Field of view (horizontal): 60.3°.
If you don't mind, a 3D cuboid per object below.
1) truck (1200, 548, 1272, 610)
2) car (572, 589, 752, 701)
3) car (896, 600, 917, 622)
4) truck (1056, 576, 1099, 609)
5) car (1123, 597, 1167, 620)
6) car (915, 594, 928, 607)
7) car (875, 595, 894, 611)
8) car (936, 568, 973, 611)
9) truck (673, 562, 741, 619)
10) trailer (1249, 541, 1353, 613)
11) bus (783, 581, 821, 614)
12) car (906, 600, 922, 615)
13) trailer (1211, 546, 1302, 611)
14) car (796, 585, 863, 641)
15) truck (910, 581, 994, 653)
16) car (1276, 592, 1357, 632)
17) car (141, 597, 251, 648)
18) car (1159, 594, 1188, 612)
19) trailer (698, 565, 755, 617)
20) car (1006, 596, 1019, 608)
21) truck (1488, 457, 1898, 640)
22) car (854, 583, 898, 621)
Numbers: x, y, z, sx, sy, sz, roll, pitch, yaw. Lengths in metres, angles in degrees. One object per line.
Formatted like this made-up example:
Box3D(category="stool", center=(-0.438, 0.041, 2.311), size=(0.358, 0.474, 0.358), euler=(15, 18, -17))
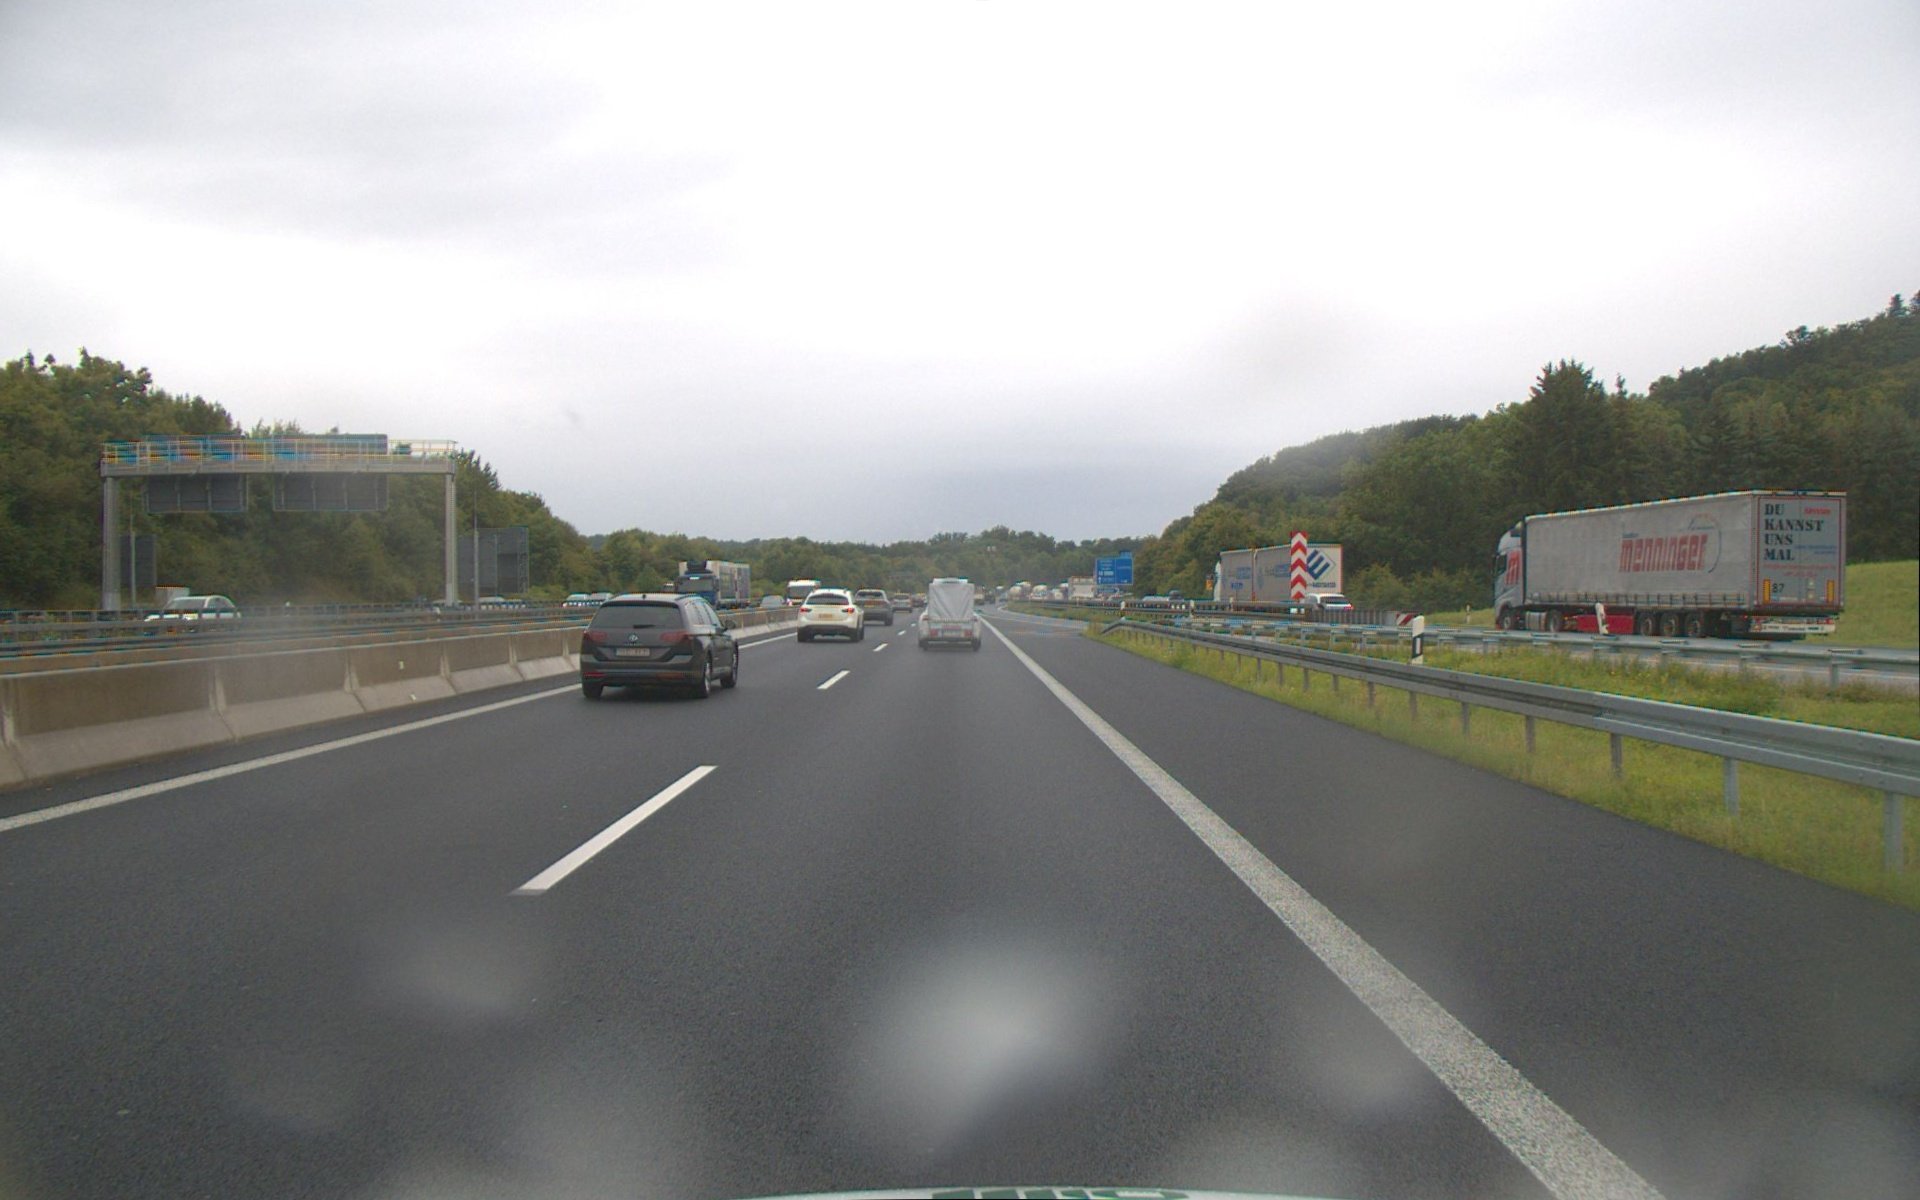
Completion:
Box3D(category="truck", center=(16.822, -1.256, 101.138), size=(2.881, 3.588, 5.921), euler=(1, 0, -5))
Box3D(category="car", center=(-4.339, 0.604, 24.783), size=(1.750, 1.484, 4.802), euler=(1, 0, 1))
Box3D(category="car", center=(-4.597, 0.935, 141.944), size=(1.703, 1.825, 4.000), euler=(1, 0, 0))
Box3D(category="truck", center=(13.457, -0.858, 190.408), size=(3.749, 3.723, 8.265), euler=(1, 0, -4))
Box3D(category="car", center=(12.436, 0.552, 111.448), size=(1.947, 1.401, 5.314), euler=(1, 1, -4))
Box3D(category="car", center=(-5.001, 0.087, 216.863), size=(1.611, 1.601, 4.000), euler=(1, 0, 0))
Box3D(category="car", center=(-7.642, 0.294, 167.413), size=(1.782, 1.691, 4.017), euler=(0, 0, 0))
Box3D(category="car", center=(-0.399, -0.738, 110.428), size=(2.284, 2.773, 6.538), euler=(0, 1, -2))
Box3D(category="truck", center=(-16.705, -0.606, 109.899), size=(2.750, 3.586, 10.641), euler=(1, 0, 0))
Box3D(category="trailer", center=(18.158, -1.173, 88.724), size=(3.019, 3.588, 8.073), euler=(1, 0, -7))
Box3D(category="bus", center=(-13.375, -0.205, 140.661), size=(2.489, 2.631, 8.270), euler=(1, 0, -1))
Box3D(category="car", center=(-5.085, 0.865, 181.940), size=(1.611, 1.601, 4.000), euler=(1, 0, 0))
Box3D(category="trailer", center=(17.261, -1.189, 96.909), size=(2.882, 3.588, 8.408), euler=(1, 0, -6))
Box3D(category="car", center=(-4.227, 0.385, 53.102), size=(2.009, 1.700, 4.535), euler=(1, 0, -6))
Box3D(category="truck", center=(-0.253, 0.440, 47.339), size=(2.196, 1.871, 6.583), euler=(1, 0, -1))
Box3D(category="car", center=(15.381, 0.506, 71.623), size=(1.955, 1.645, 5.072), euler=(0, 0, -6))
Box3D(category="car", center=(-27.864, 0.803, 60.520), size=(1.953, 1.767, 4.581), euler=(0, 0, -1))
Box3D(category="car", center=(16.209, 0.200, 125.709), size=(1.662, 1.311, 3.534), euler=(1, 0, -1))
Box3D(category="trailer", center=(-16.779, -0.634, 119.317), size=(2.882, 3.577, 8.051), euler=(1, 0, 0))
Box3D(category="car", center=(6.972, 0.237, 219.619), size=(1.611, 1.601, 4.000), euler=(1, 0, 0))
Box3D(category="truck", center=(21.208, -1.276, 50.168), size=(3.746, 4.620, 16.867), euler=(0, 0, -5))
Box3D(category="car", center=(-4.075, 0.087, 80.990), size=(1.935, 1.733, 4.802), euler=(1, 0, -1))
